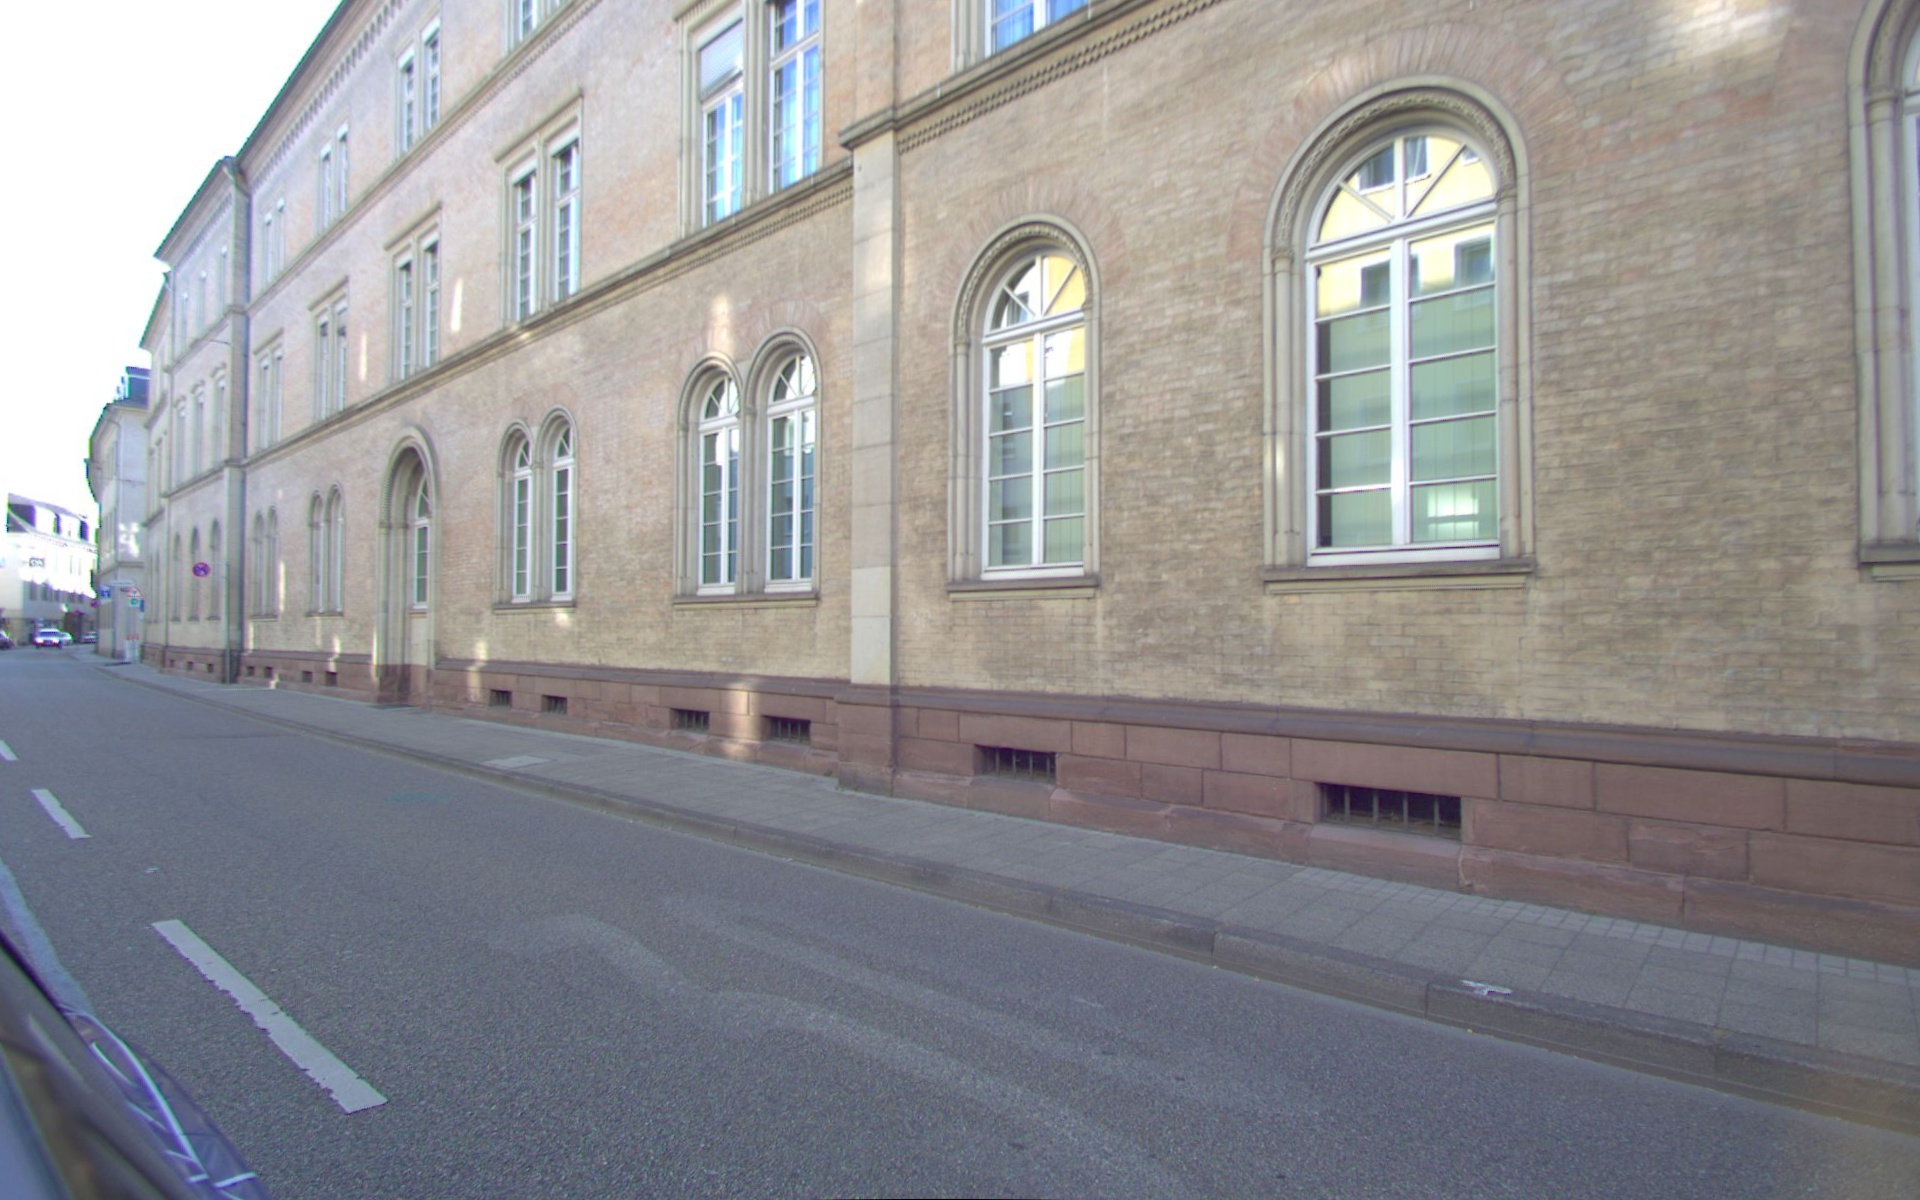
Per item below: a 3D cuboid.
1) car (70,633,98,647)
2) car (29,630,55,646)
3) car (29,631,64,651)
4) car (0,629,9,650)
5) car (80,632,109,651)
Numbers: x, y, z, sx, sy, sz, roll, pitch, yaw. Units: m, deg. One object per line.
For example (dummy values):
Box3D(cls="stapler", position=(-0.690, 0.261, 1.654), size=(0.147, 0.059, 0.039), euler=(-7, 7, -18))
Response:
Box3D(cls="car", position=(-109.289, 4.947, 126.304), size=(1.896, 1.737, 4.242), euler=(1, -2, -31))
Box3D(cls="car", position=(-102.392, 4.273, 112.909), size=(1.511, 1.737, 3.749), euler=(1, -2, -34))
Box3D(cls="car", position=(-82.890, 3.702, 91.911), size=(1.893, 1.735, 4.970), euler=(1, -2, -37))
Box3D(cls="car", position=(-81.047, 3.309, 84.634), size=(1.833, 1.737, 3.747), euler=(2, -3, -37))
Box3D(cls="car", position=(-80.283, 3.820, 93.892), size=(1.638, 1.737, 3.748), euler=(1, -2, -36))
